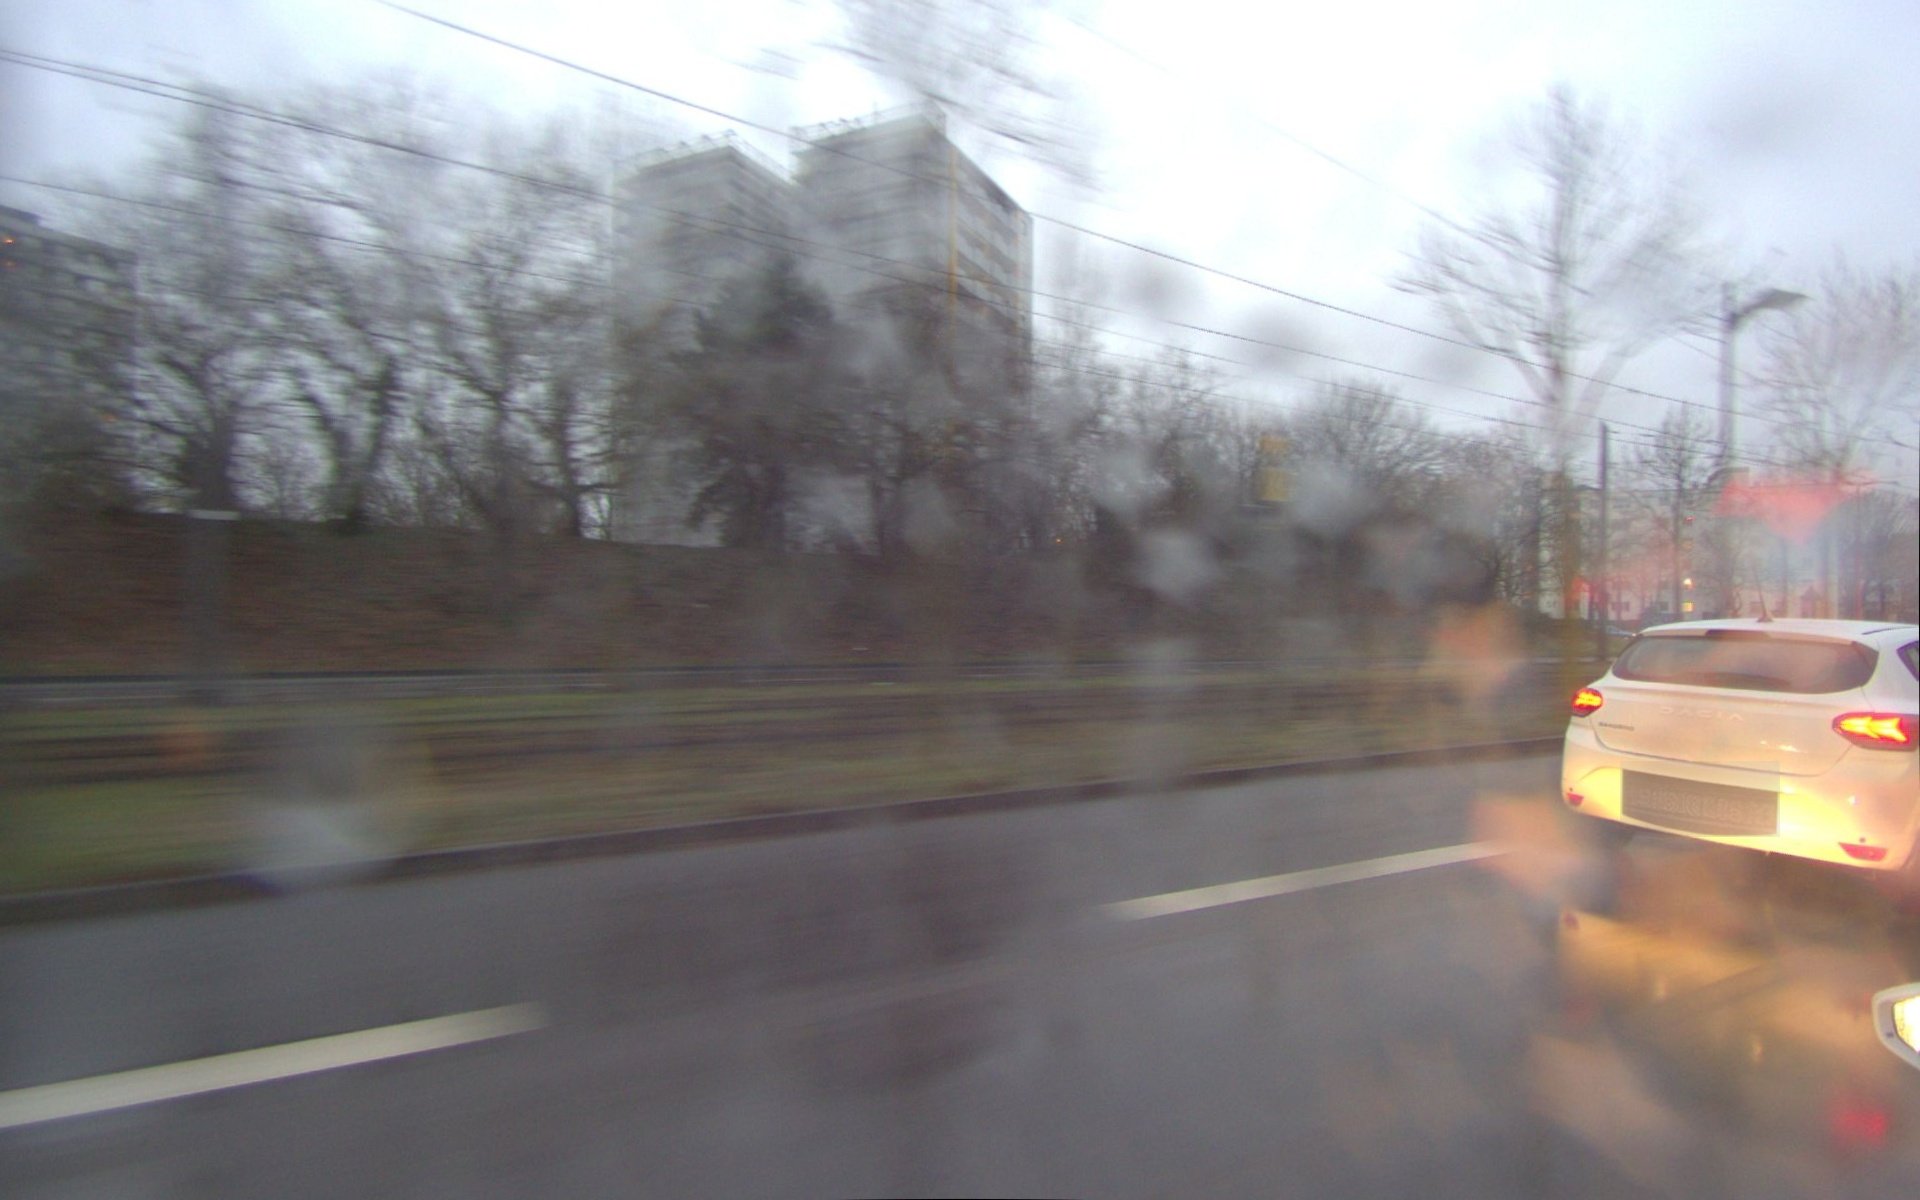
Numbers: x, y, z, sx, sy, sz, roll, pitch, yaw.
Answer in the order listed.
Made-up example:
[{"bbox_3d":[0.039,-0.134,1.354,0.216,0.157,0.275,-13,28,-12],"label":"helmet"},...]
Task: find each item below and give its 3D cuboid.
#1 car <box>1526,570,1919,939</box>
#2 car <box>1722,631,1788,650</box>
[{"bbox_3d":[5.587,0.747,6.339,4.098,1.670,1.706,1,-1,-30],"label":"car"},{"bbox_3d":[69.415,3.494,87.785,4.365,1.565,1.847,-1,-2,33],"label":"car"}]
